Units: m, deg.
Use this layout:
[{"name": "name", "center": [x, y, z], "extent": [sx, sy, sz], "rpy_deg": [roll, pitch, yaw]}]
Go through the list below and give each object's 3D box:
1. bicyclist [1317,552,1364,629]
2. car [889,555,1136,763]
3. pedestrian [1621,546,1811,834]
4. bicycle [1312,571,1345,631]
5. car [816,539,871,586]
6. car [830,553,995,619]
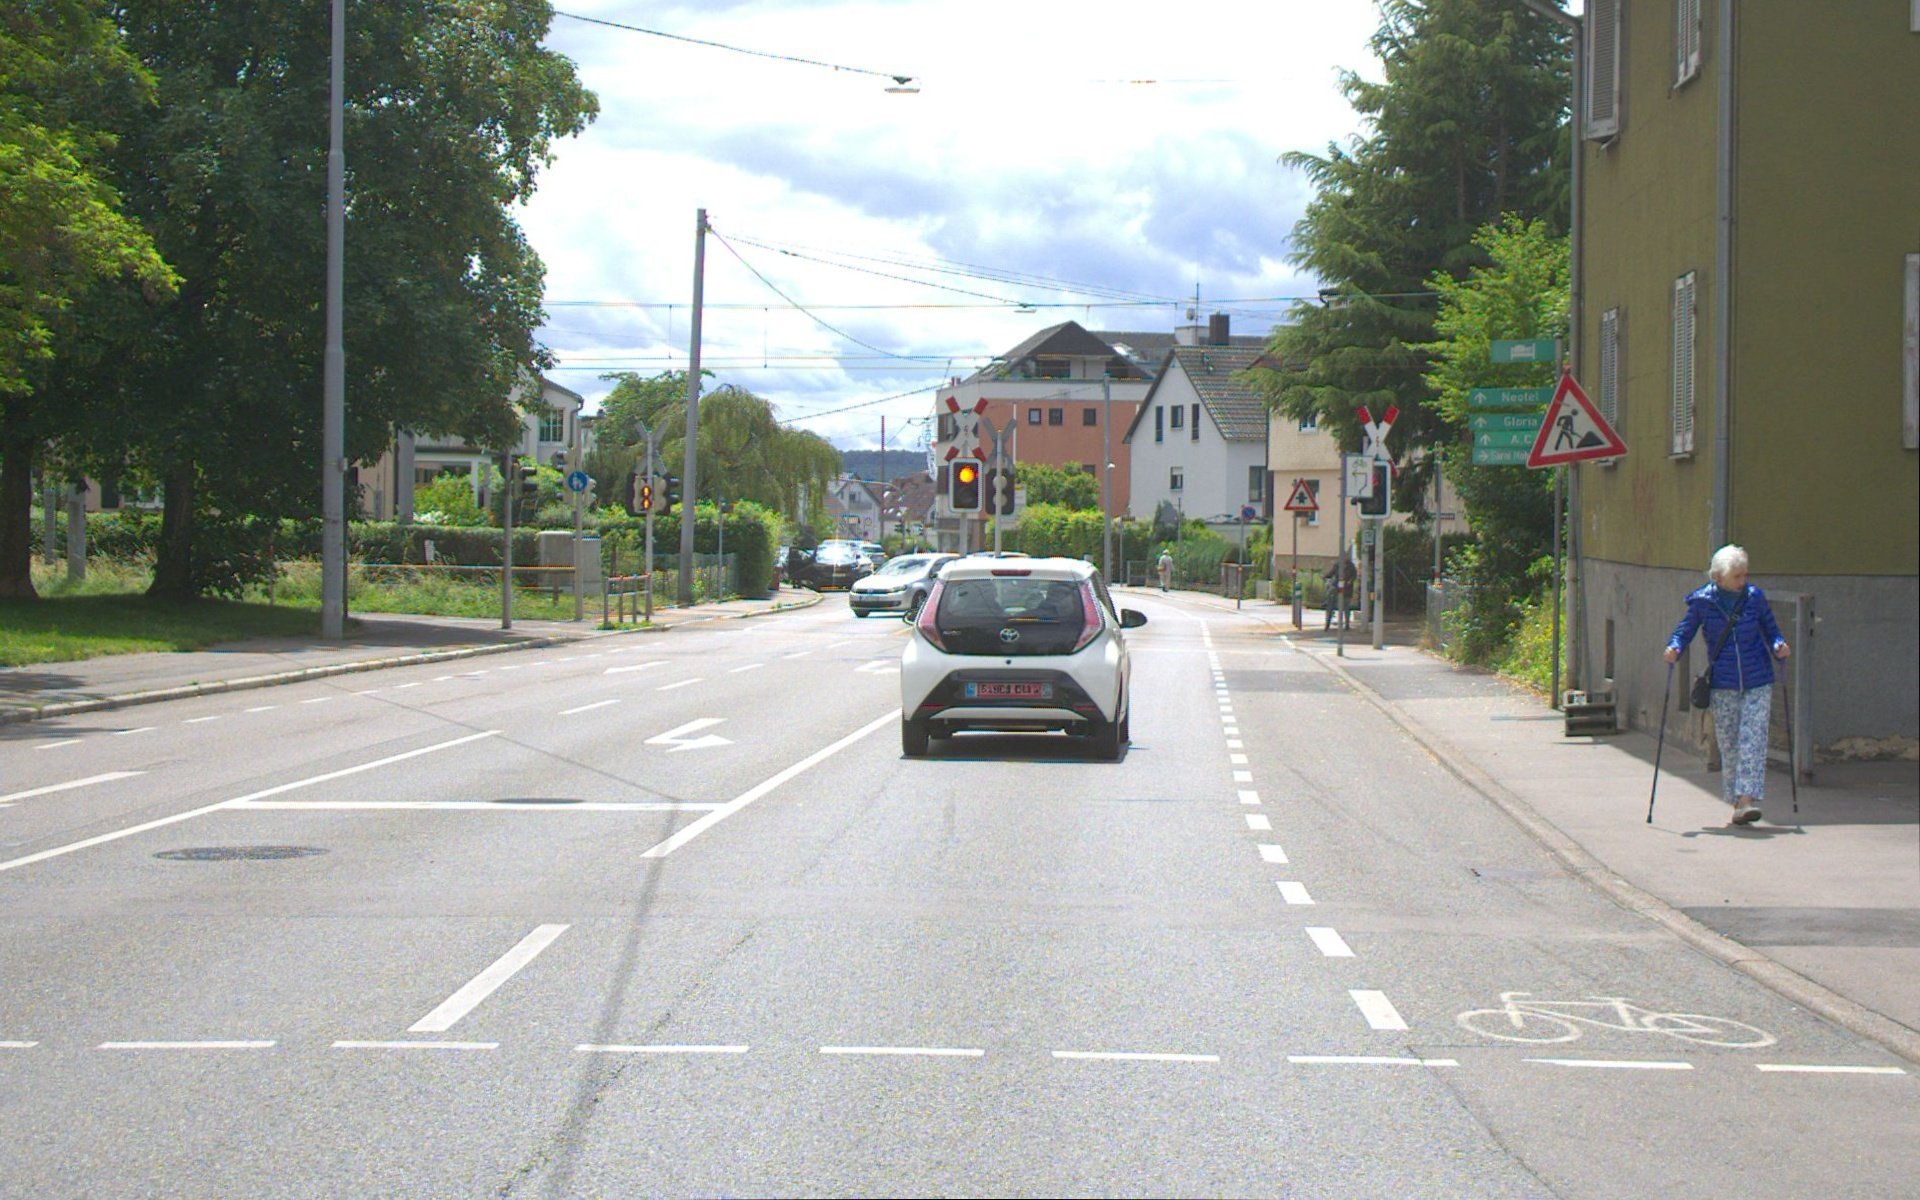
[{"name": "bicyclist", "center": [7.954, -0.193, 71.944], "extent": [0.840, 1.548, 0.756], "rpy_deg": [-2, 3, -2]}, {"name": "car", "center": [0.415, 0.401, 26.446], "extent": [1.721, 1.437, 3.708], "rpy_deg": [2, 1, 1]}, {"name": "pedestrian", "center": [4.224, 0.485, 19.263], "extent": [0.823, 1.567, 0.988], "rpy_deg": [0, 1, -1]}, {"name": "bicycle", "center": [7.703, 0.012, 71.944], "extent": [0.457, 1.168, 1.479], "rpy_deg": [-2, 3, -2]}, {"name": "car", "center": [-4.482, -1.437, 131.995], "extent": [1.993, 1.713, 4.000], "rpy_deg": [2, 1, -2]}, {"name": "car", "center": [-1.091, -0.316, 80.816], "extent": [1.908, 1.436, 4.091], "rpy_deg": [2, 1, 32]}]
